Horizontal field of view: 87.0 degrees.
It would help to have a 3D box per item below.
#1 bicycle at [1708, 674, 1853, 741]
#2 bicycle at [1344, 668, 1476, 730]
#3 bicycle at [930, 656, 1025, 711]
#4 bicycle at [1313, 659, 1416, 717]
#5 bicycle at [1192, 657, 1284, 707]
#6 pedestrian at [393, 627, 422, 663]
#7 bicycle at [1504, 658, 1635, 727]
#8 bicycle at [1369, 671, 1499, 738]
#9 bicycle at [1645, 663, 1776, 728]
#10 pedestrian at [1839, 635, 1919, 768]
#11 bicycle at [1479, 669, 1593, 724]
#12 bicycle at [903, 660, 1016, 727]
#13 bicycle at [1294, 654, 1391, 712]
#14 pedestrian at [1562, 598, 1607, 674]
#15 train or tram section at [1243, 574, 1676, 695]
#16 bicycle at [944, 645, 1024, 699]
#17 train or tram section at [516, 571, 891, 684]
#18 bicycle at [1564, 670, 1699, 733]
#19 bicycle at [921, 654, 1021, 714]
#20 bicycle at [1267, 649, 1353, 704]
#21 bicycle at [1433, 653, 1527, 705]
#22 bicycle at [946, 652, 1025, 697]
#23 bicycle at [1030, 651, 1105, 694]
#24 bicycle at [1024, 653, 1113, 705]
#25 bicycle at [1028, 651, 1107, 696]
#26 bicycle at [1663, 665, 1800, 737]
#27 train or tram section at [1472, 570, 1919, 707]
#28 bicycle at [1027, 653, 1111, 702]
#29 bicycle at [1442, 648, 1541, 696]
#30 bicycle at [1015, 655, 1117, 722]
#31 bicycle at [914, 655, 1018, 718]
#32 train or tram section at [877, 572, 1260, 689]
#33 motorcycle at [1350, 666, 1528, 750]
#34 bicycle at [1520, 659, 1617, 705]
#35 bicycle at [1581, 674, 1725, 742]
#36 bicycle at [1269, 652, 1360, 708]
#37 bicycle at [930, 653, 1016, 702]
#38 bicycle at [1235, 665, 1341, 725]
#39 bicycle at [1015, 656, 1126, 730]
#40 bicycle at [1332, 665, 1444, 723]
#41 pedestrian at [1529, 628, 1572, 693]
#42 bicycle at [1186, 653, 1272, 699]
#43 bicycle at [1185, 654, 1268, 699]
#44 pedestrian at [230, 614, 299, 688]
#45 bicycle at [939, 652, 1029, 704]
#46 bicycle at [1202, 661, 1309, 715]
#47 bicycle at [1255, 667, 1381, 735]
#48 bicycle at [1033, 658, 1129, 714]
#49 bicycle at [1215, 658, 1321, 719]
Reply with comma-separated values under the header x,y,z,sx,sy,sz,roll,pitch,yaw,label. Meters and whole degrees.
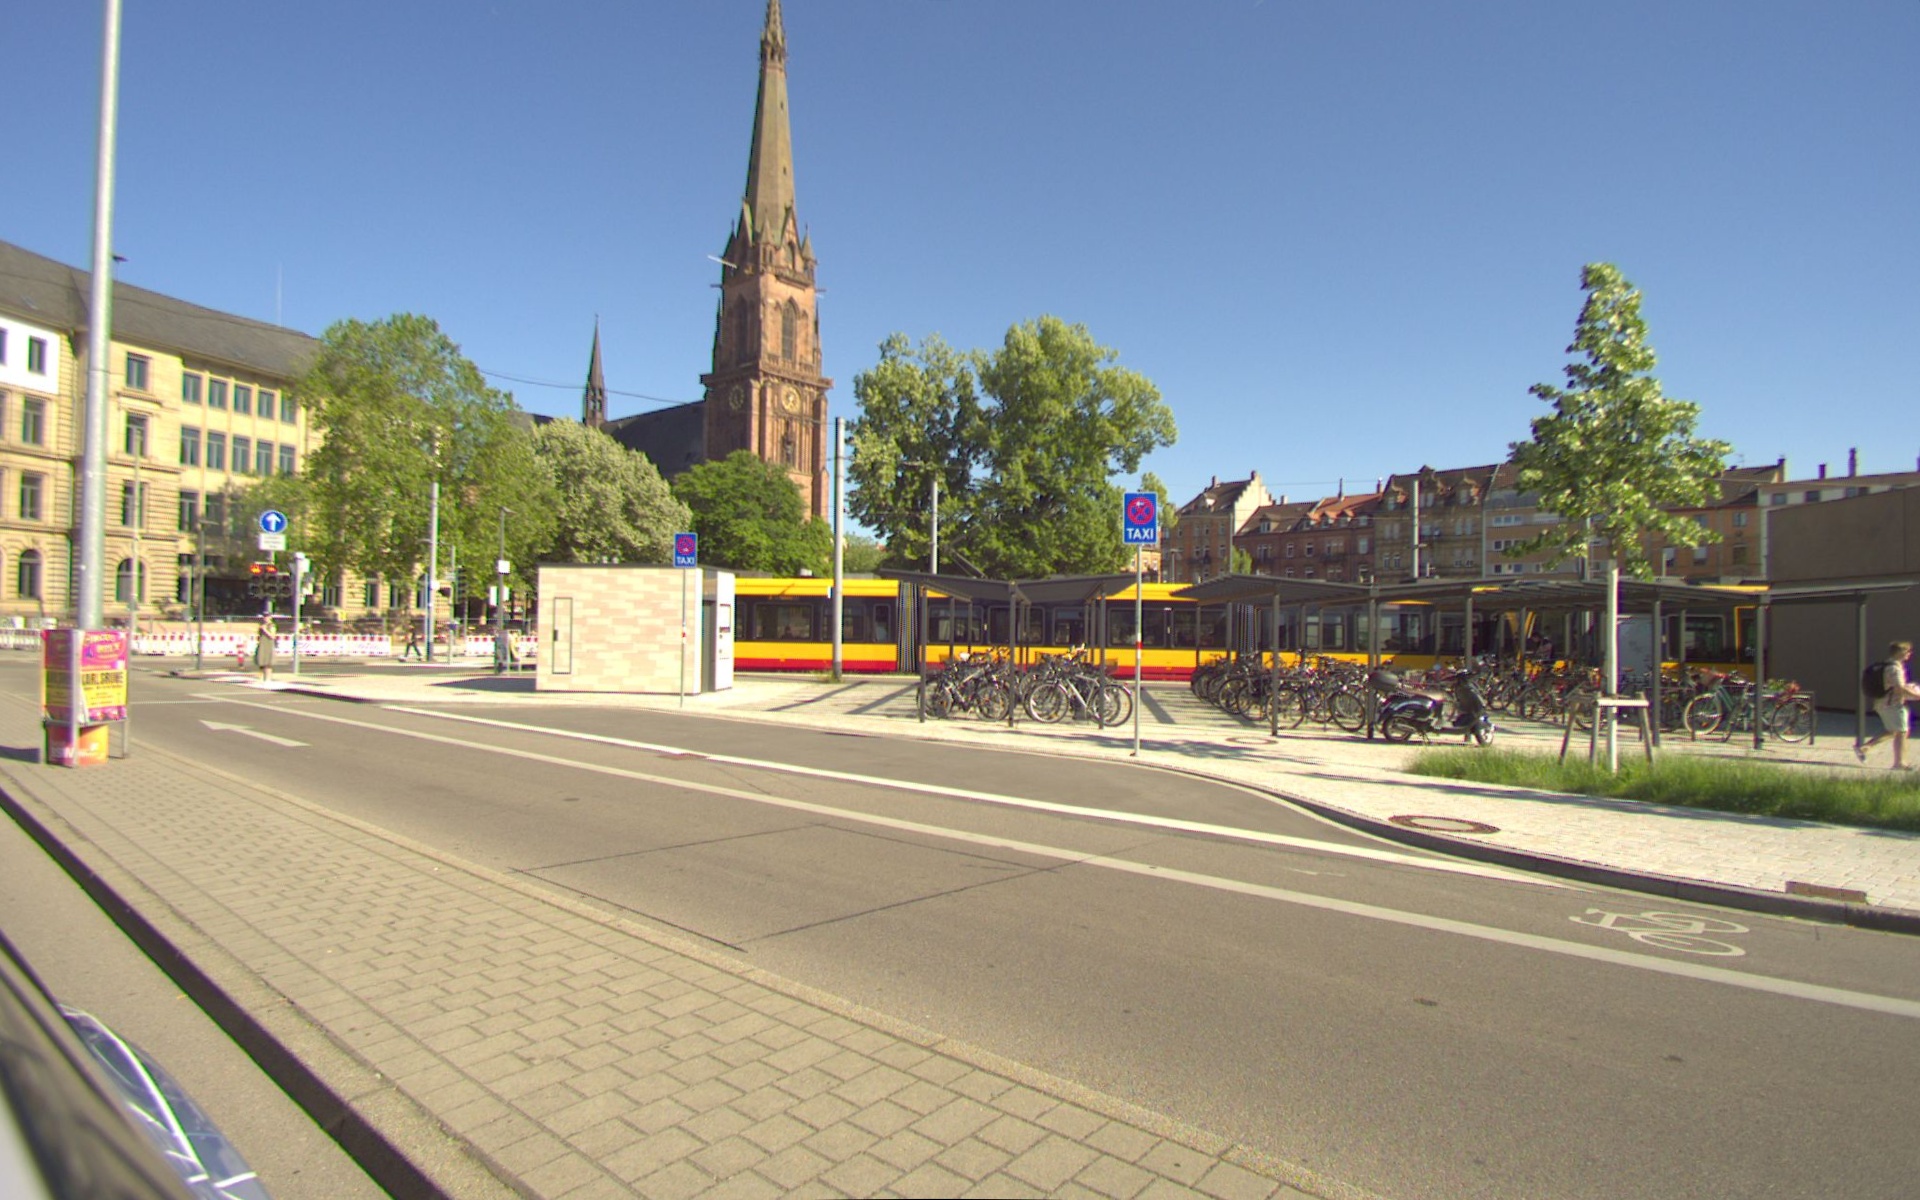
x,y,z,sx,sy,sz,roll,pitch,yaw,label
13.021,1.698,16.077,1.803,1.015,0.629,1,-2,-3,bicycle
7.920,1.734,17.877,2.003,1.015,0.627,0,-2,7,bicycle
0.361,1.639,19.986,1.809,1.015,0.627,0,-2,9,bicycle
8.075,1.751,20.263,1.808,1.088,0.627,0,-2,7,bicycle
5.970,1.761,21.807,1.805,1.015,0.629,0,-2,0,bicycle
-27.012,2.196,49.473,0.923,1.754,0.805,0,-2,5,pedestrian
11.298,1.707,18.802,2.029,1.218,0.505,0,-2,8,bicycle
7.768,1.708,16.651,1.808,1.015,0.627,0,-2,7,bicycle
13.591,1.720,18.360,1.808,1.101,0.627,0,-2,7,bicycle
12.592,1.328,13.504,1.017,1.718,0.833,0,-2,19,pedestrian
11.262,1.876,19.842,1.809,1.015,0.627,0,-2,9,bicycle
0.007,1.587,17.375,1.847,1.015,0.699,2,-2,9,bicycle
8.111,1.750,21.529,1.808,1.170,0.627,0,-2,7,bicycle
15.714,0.904,25.473,0.700,1.869,0.751,2,-2,-38,pedestrian
15.582,1.062,32.492,12.174,3.628,2.828,0,-2,6,train or tram section
0.562,1.651,23.416,1.809,1.188,0.627,0,-2,9,bicycle
-8.735,0.917,35.064,12.382,3.628,2.796,0,-2,6,train or tram section
11.604,1.745,17.526,1.872,1.004,0.499,0,-2,13,bicycle
0.213,1.548,18.766,1.809,1.059,0.571,0,-2,9,bicycle
8.237,1.789,23.877,1.808,1.242,0.627,0,-2,7,bicycle
12.001,1.818,23.404,1.809,1.140,0.627,0,-2,9,bicycle
0.620,1.755,24.115,1.809,1.015,0.627,0,-2,9,bicycle
2.633,1.763,24.810,1.808,1.015,0.627,0,-2,7,bicycle
2.229,1.613,20.850,1.808,1.015,0.627,0,-2,7,bicycle
2.511,1.707,23.610,1.808,1.015,0.627,0,-2,7,bicycle
12.992,1.691,17.065,1.805,1.155,0.629,0,-2,0,bicycle
21.504,1.050,28.689,12.179,3.628,2.748,0,-2,7,train or tram section
2.378,1.692,22.124,1.808,1.015,0.627,0,-2,7,bicycle
11.688,1.581,22.308,1.809,1.015,0.627,0,-2,9,bicycle
1.910,1.581,18.277,1.808,1.157,0.627,0,-2,7,bicycle
0.117,1.542,18.238,1.809,1.074,0.627,0,-2,9,bicycle
3.478,0.972,33.791,12.174,3.628,2.796,0,-2,6,train or tram section
7.169,1.607,15.234,2.333,1.167,0.610,0,-2,7,motorcycle
14.053,1.885,23.407,1.808,1.015,0.627,0,-2,7,bicycle
11.159,1.726,16.350,1.809,1.015,0.627,0,-2,9,bicycle
7.929,1.771,22.679,1.808,1.198,0.647,0,-2,7,bicycle
0.290,1.695,22.172,1.809,1.015,0.627,0,-2,9,bicycle
5.853,1.689,18.133,1.731,1.015,0.547,0,-2,10,bicycle
1.865,1.560,17.134,1.808,1.167,0.627,1,-2,7,bicycle
8.001,1.753,18.971,1.808,1.015,0.627,0,-2,7,bicycle
15.331,1.562,26.276,0.762,1.672,0.604,0,-2,4,pedestrian
6.122,1.725,23.111,1.807,1.015,0.628,0,-2,5,bicycle
6.252,1.790,23.799,1.808,1.015,0.627,0,-2,6,bicycle
-18.157,1.318,26.421,0.824,1.869,1.216,-1,-2,31,pedestrian
0.513,1.619,21.141,1.809,1.015,0.627,0,-2,9,bicycle
5.949,1.765,20.432,1.978,1.015,0.628,0,-2,4,bicycle
5.978,1.680,16.979,1.871,1.050,0.688,0,-2,9,bicycle
2.321,1.639,19.542,1.808,1.015,0.745,0,-2,7,bicycle
5.877,1.686,19.411,1.859,1.101,0.626,0,-2,8,bicycle
